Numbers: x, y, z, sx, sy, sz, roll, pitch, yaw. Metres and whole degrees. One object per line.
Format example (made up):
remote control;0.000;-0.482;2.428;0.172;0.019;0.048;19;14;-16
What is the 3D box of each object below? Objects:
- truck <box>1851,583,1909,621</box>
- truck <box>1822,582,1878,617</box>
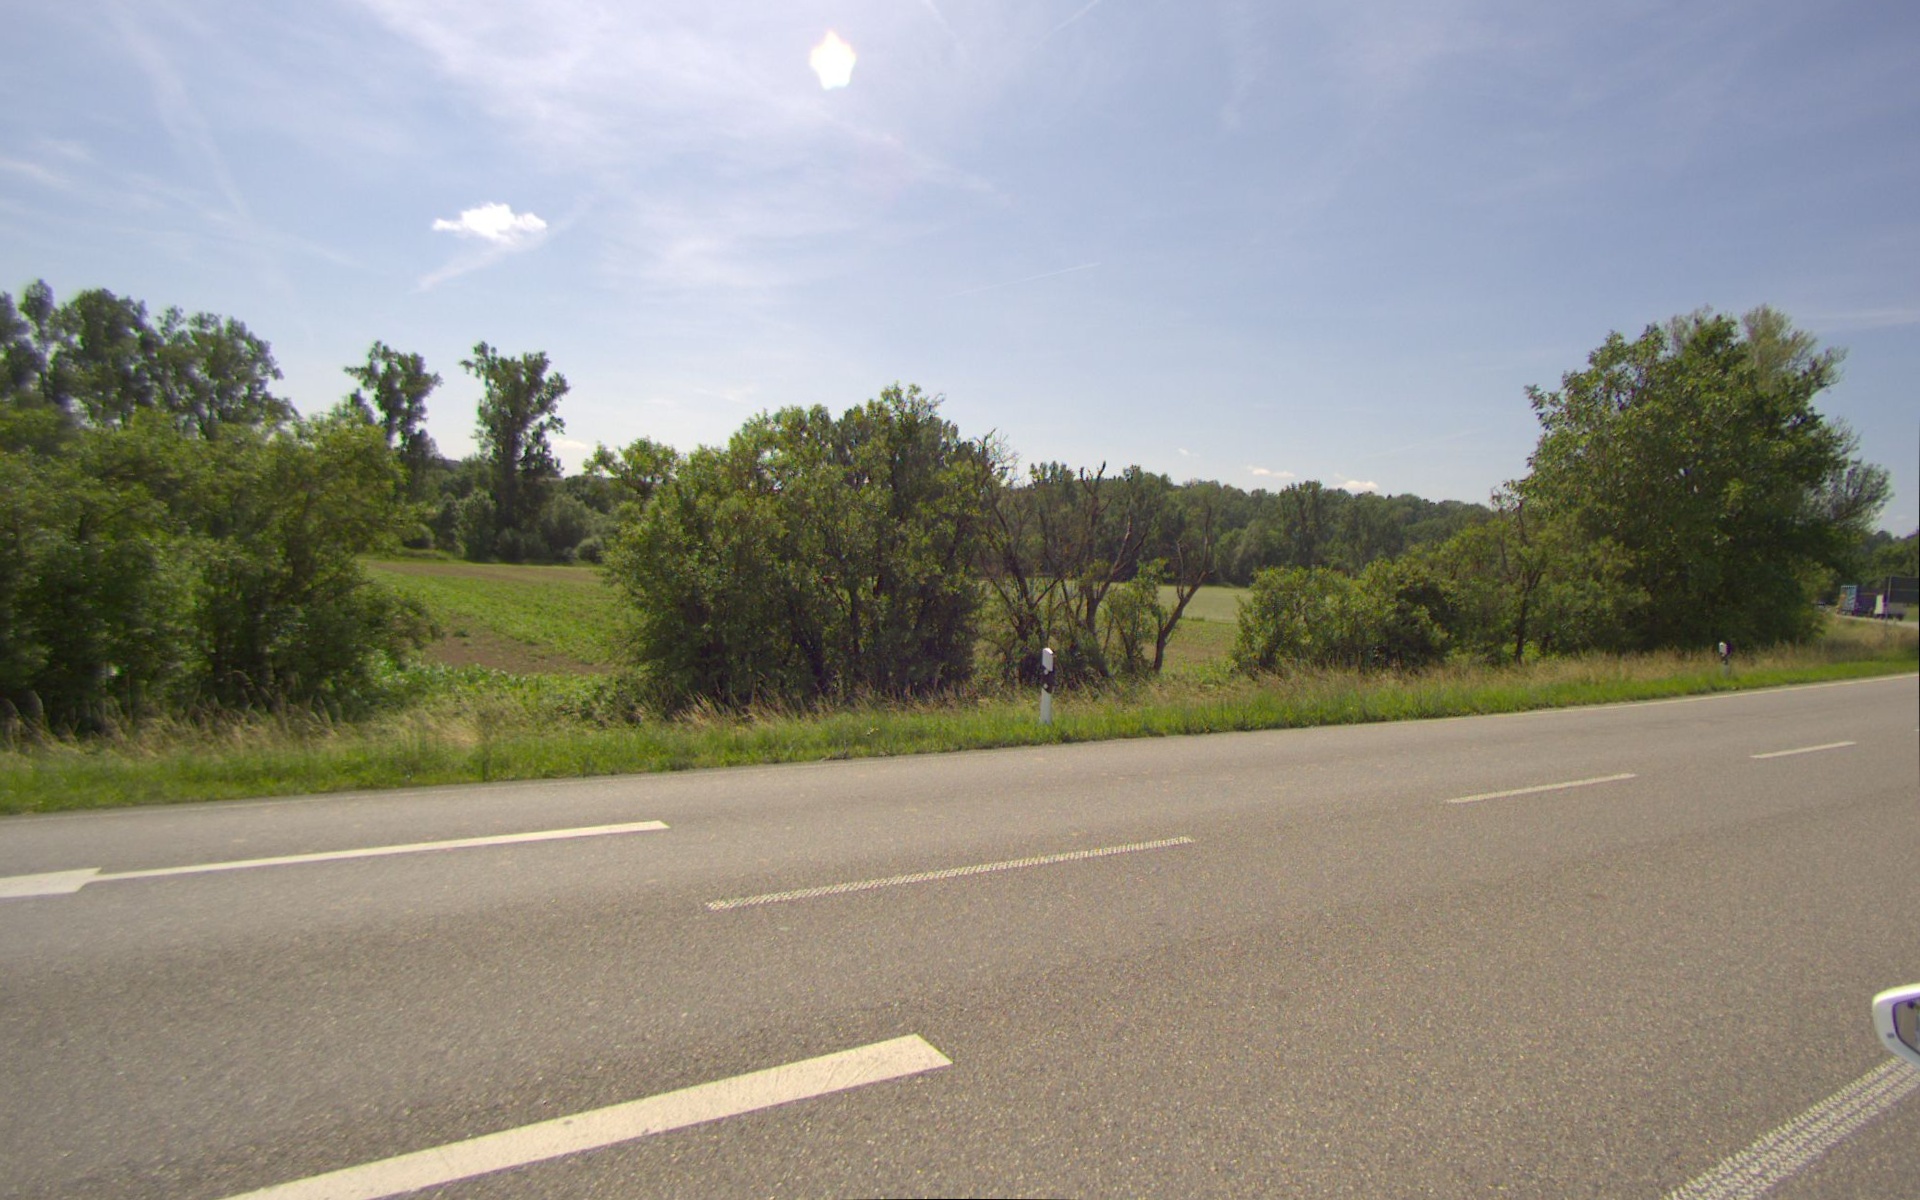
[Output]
truck;115.266;0.303;126.079;3.590;4.184;13.053;5;1;36
truck;123.853;0.019;140.025;3.480;4.297;13.372;5;1;32
